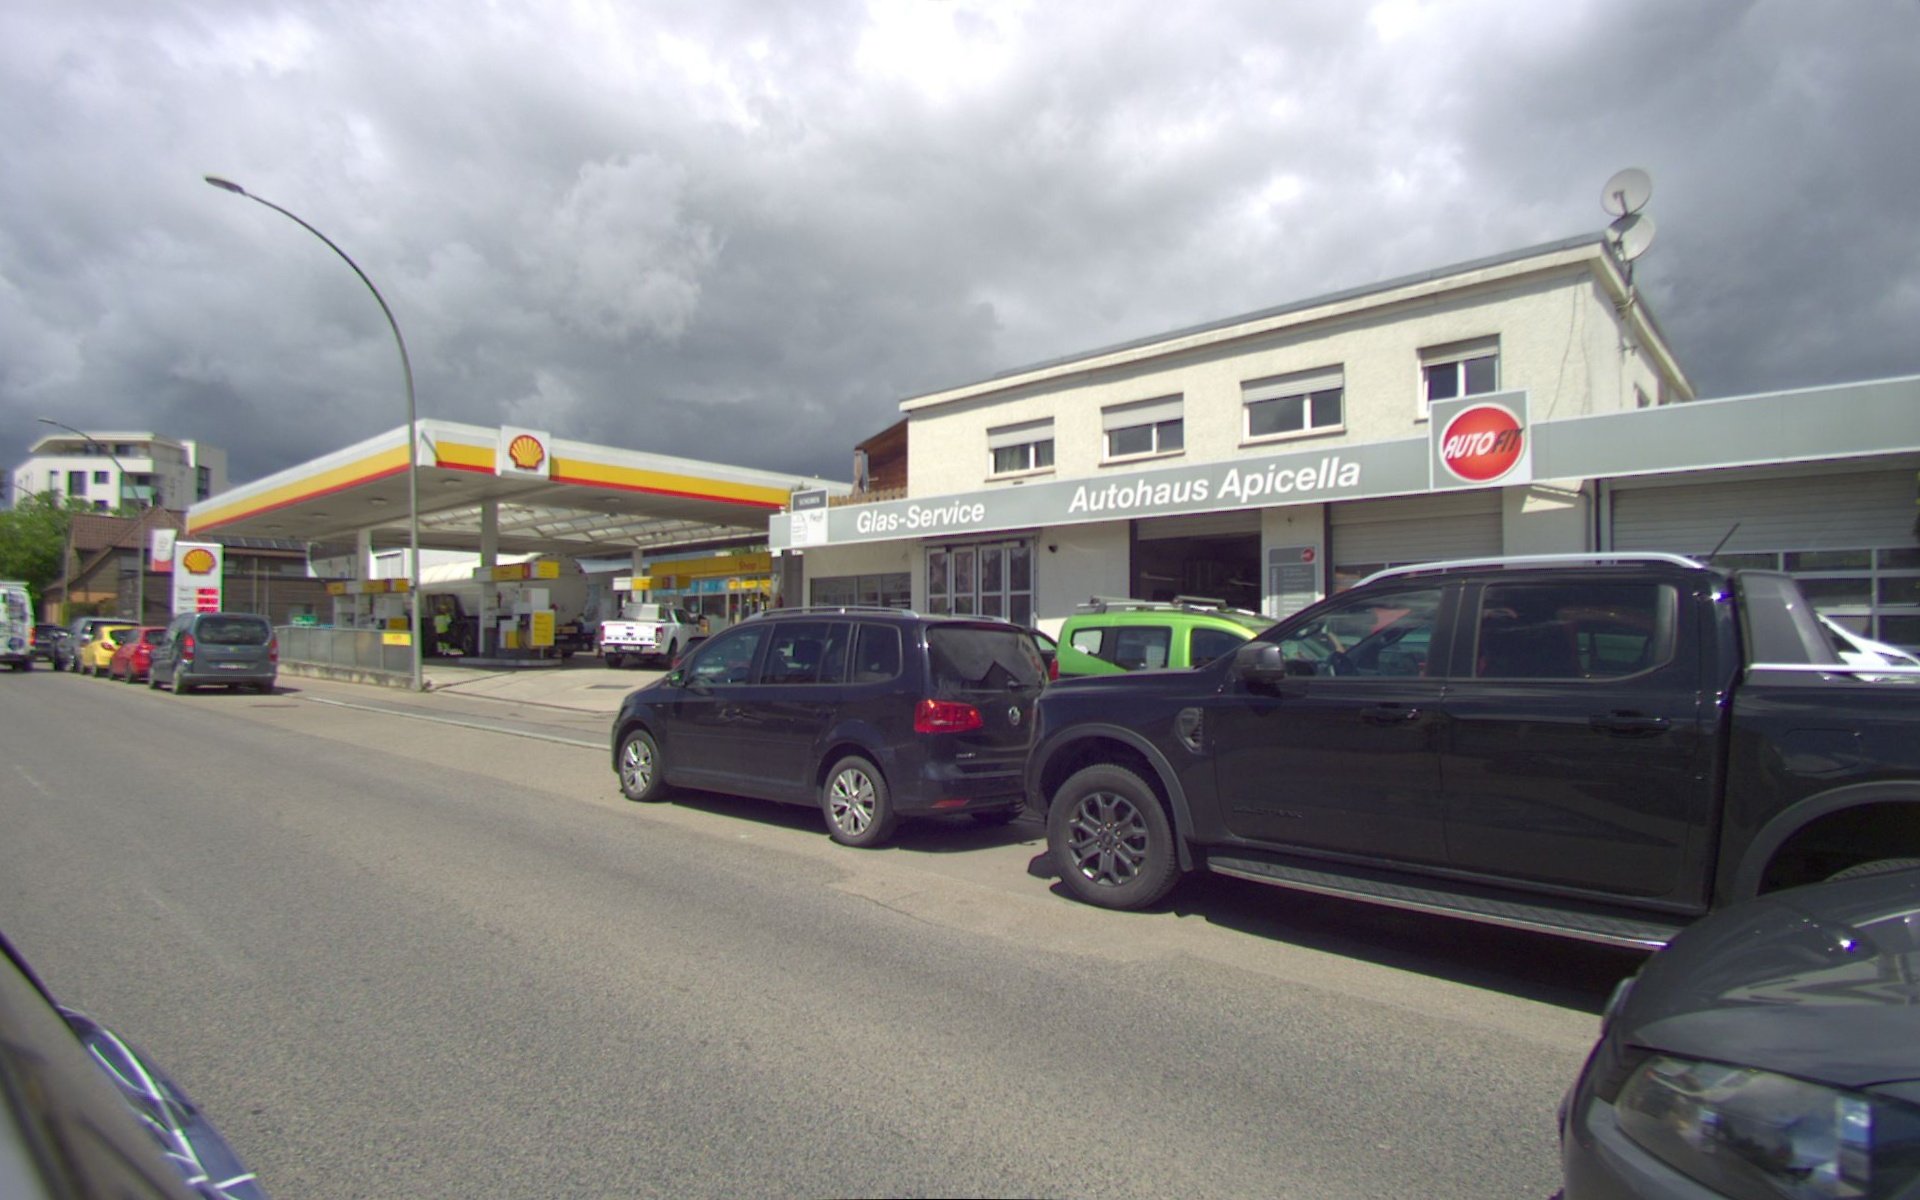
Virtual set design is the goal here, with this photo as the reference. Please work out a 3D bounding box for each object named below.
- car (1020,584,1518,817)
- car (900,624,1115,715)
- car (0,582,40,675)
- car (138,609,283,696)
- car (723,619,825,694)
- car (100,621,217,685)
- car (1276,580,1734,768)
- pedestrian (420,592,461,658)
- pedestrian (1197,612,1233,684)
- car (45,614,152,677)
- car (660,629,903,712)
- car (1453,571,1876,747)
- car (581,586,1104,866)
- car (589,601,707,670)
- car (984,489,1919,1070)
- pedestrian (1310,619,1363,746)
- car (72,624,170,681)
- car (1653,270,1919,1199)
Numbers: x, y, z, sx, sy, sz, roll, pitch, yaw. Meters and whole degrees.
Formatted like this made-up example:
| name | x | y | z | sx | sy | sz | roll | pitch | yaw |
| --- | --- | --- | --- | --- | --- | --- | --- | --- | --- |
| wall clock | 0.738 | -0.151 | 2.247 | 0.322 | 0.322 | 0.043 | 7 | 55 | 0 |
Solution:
| name | x | y | z | sx | sy | sz | roll | pitch | yaw |
| --- | --- | --- | --- | --- | --- | --- | --- | --- | --- |
| car | 2.836 | 0.822 | 9.928 | 4.336 | 1.799 | 1.773 | -1 | -2 | 41 |
| car | 1.019 | 1.237 | 19.202 | 1.972 | 1.504 | 4.357 | -3 | -3 | 37 |
| car | -31.279 | 0.910 | 32.405 | 6.162 | 2.787 | 1.971 | -1 | -4 | 42 |
| car | -16.976 | 1.168 | 22.852 | 4.189 | 1.751 | 1.711 | -1 | -6 | 42 |
| car | -4.682 | 1.377 | 26.078 | 1.946 | 1.623 | 4.416 | 4 | -1 | -3 |
| car | -21.335 | 1.397 | 26.882 | 4.189 | 1.526 | 1.645 | -1 | -6 | 42 |
| car | 6.033 | 0.697 | 11.601 | 4.323 | 1.799 | 1.779 | 0 | 1 | 32 |
| pedestrian | -17.734 | 0.842 | 34.536 | 1.011 | 2.195 | 0.928 | -1 | 0 | 41 |
| pedestrian | 5.970 | 1.112 | 23.657 | 0.592 | 1.632 | 0.621 | -1 | 0 | 38 |
| car | -28.065 | 1.470 | 32.929 | 4.312 | 1.882 | 1.767 | -1 | -6 | 39 |
| car | -3.277 | 1.302 | 19.190 | 4.278 | 1.501 | 1.797 | 0 | -2 | 1 |
| car | 8.901 | 0.667 | 13.321 | 4.317 | 1.995 | 1.865 | 0 | 0 | 28 |
| car | -1.179 | 0.845 | 8.271 | 4.525 | 1.693 | 1.645 | -1 | -4 | 42 |
| car | -9.076 | 1.023 | 29.920 | 1.948 | 1.866 | 4.982 | 0 | -1 | 0 |
| car | 2.808 | 0.662 | 4.712 | 5.428 | 1.835 | 1.890 | -1 | -6 | 42 |
| pedestrian | 4.817 | 1.038 | 12.956 | 0.493 | 1.570 | 0.408 | -1 | 0 | 41 |
| car | -24.839 | 1.534 | 29.918 | 3.945 | 1.526 | 1.644 | -2 | -6 | 43 |
| car | 3.081 | 0.521 | 0.517 | 4.336 | 1.809 | 1.645 | -1 | -4 | 41 |
